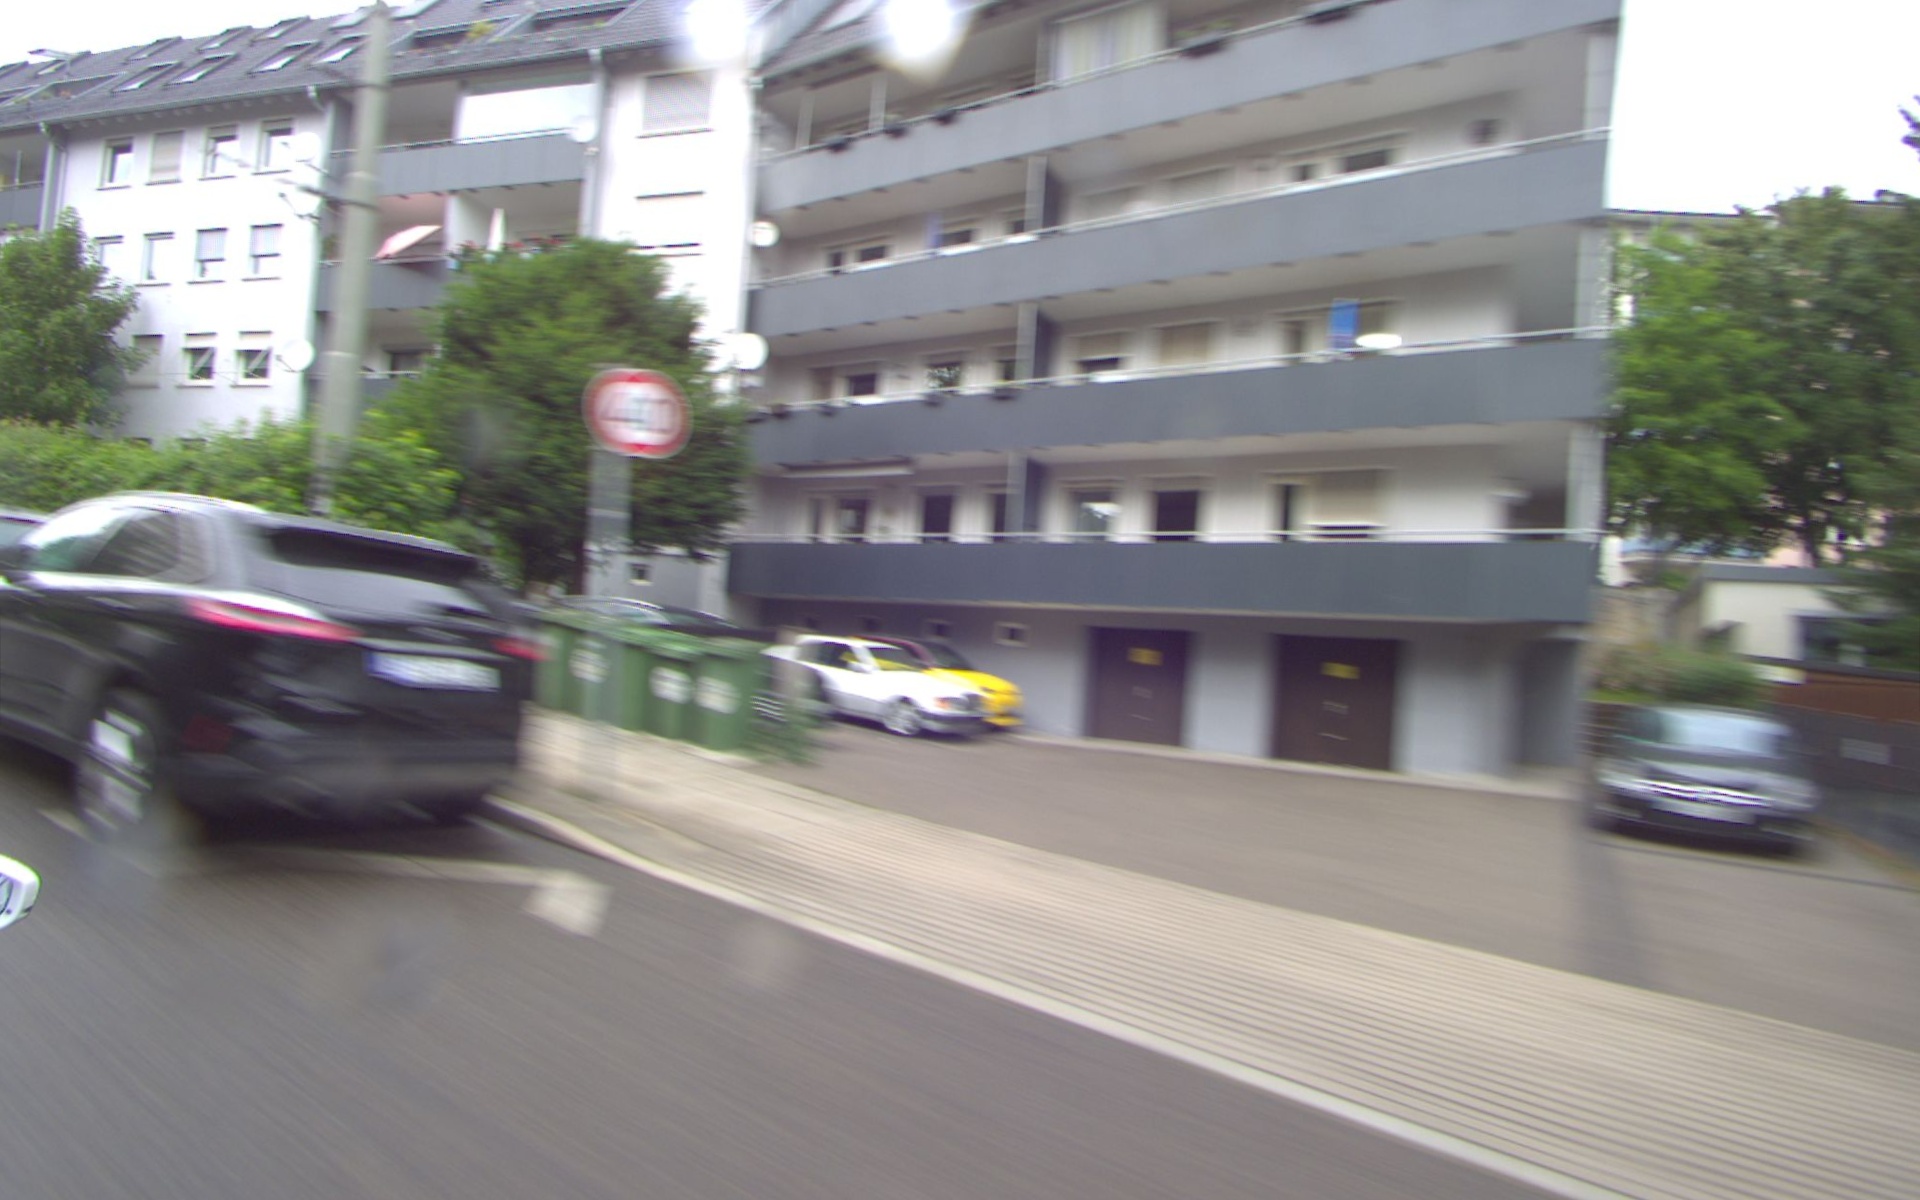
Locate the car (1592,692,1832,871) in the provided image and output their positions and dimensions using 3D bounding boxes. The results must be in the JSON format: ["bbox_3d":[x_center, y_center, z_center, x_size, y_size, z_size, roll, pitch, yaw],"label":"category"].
[{"bbox_3d":[8.552,1.875,11.518,1.792,1.449,4.367,3,-2,37],"label":"car"}]

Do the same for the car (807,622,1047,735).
[{"bbox_3d":[-0.665,1.439,18.937,4.134,1.539,1.687,6,-2,31],"label":"car"}]

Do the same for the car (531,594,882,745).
[{"bbox_3d":[-3.209,0.826,12.537,4.136,1.531,1.724,2,-5,31],"label":"car"}]

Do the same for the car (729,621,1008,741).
[{"bbox_3d":[-1.590,1.317,16.911,4.357,1.394,1.780,6,-3,31],"label":"car"}]

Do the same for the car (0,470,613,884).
[{"bbox_3d":[-4.552,0.255,6.160,4.611,1.659,1.911,6,-3,31],"label":"car"}]

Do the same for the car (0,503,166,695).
[{"bbox_3d":[-9.139,-0.186,8.987,4.179,1.443,1.709,6,-3,31],"label":"car"}]
